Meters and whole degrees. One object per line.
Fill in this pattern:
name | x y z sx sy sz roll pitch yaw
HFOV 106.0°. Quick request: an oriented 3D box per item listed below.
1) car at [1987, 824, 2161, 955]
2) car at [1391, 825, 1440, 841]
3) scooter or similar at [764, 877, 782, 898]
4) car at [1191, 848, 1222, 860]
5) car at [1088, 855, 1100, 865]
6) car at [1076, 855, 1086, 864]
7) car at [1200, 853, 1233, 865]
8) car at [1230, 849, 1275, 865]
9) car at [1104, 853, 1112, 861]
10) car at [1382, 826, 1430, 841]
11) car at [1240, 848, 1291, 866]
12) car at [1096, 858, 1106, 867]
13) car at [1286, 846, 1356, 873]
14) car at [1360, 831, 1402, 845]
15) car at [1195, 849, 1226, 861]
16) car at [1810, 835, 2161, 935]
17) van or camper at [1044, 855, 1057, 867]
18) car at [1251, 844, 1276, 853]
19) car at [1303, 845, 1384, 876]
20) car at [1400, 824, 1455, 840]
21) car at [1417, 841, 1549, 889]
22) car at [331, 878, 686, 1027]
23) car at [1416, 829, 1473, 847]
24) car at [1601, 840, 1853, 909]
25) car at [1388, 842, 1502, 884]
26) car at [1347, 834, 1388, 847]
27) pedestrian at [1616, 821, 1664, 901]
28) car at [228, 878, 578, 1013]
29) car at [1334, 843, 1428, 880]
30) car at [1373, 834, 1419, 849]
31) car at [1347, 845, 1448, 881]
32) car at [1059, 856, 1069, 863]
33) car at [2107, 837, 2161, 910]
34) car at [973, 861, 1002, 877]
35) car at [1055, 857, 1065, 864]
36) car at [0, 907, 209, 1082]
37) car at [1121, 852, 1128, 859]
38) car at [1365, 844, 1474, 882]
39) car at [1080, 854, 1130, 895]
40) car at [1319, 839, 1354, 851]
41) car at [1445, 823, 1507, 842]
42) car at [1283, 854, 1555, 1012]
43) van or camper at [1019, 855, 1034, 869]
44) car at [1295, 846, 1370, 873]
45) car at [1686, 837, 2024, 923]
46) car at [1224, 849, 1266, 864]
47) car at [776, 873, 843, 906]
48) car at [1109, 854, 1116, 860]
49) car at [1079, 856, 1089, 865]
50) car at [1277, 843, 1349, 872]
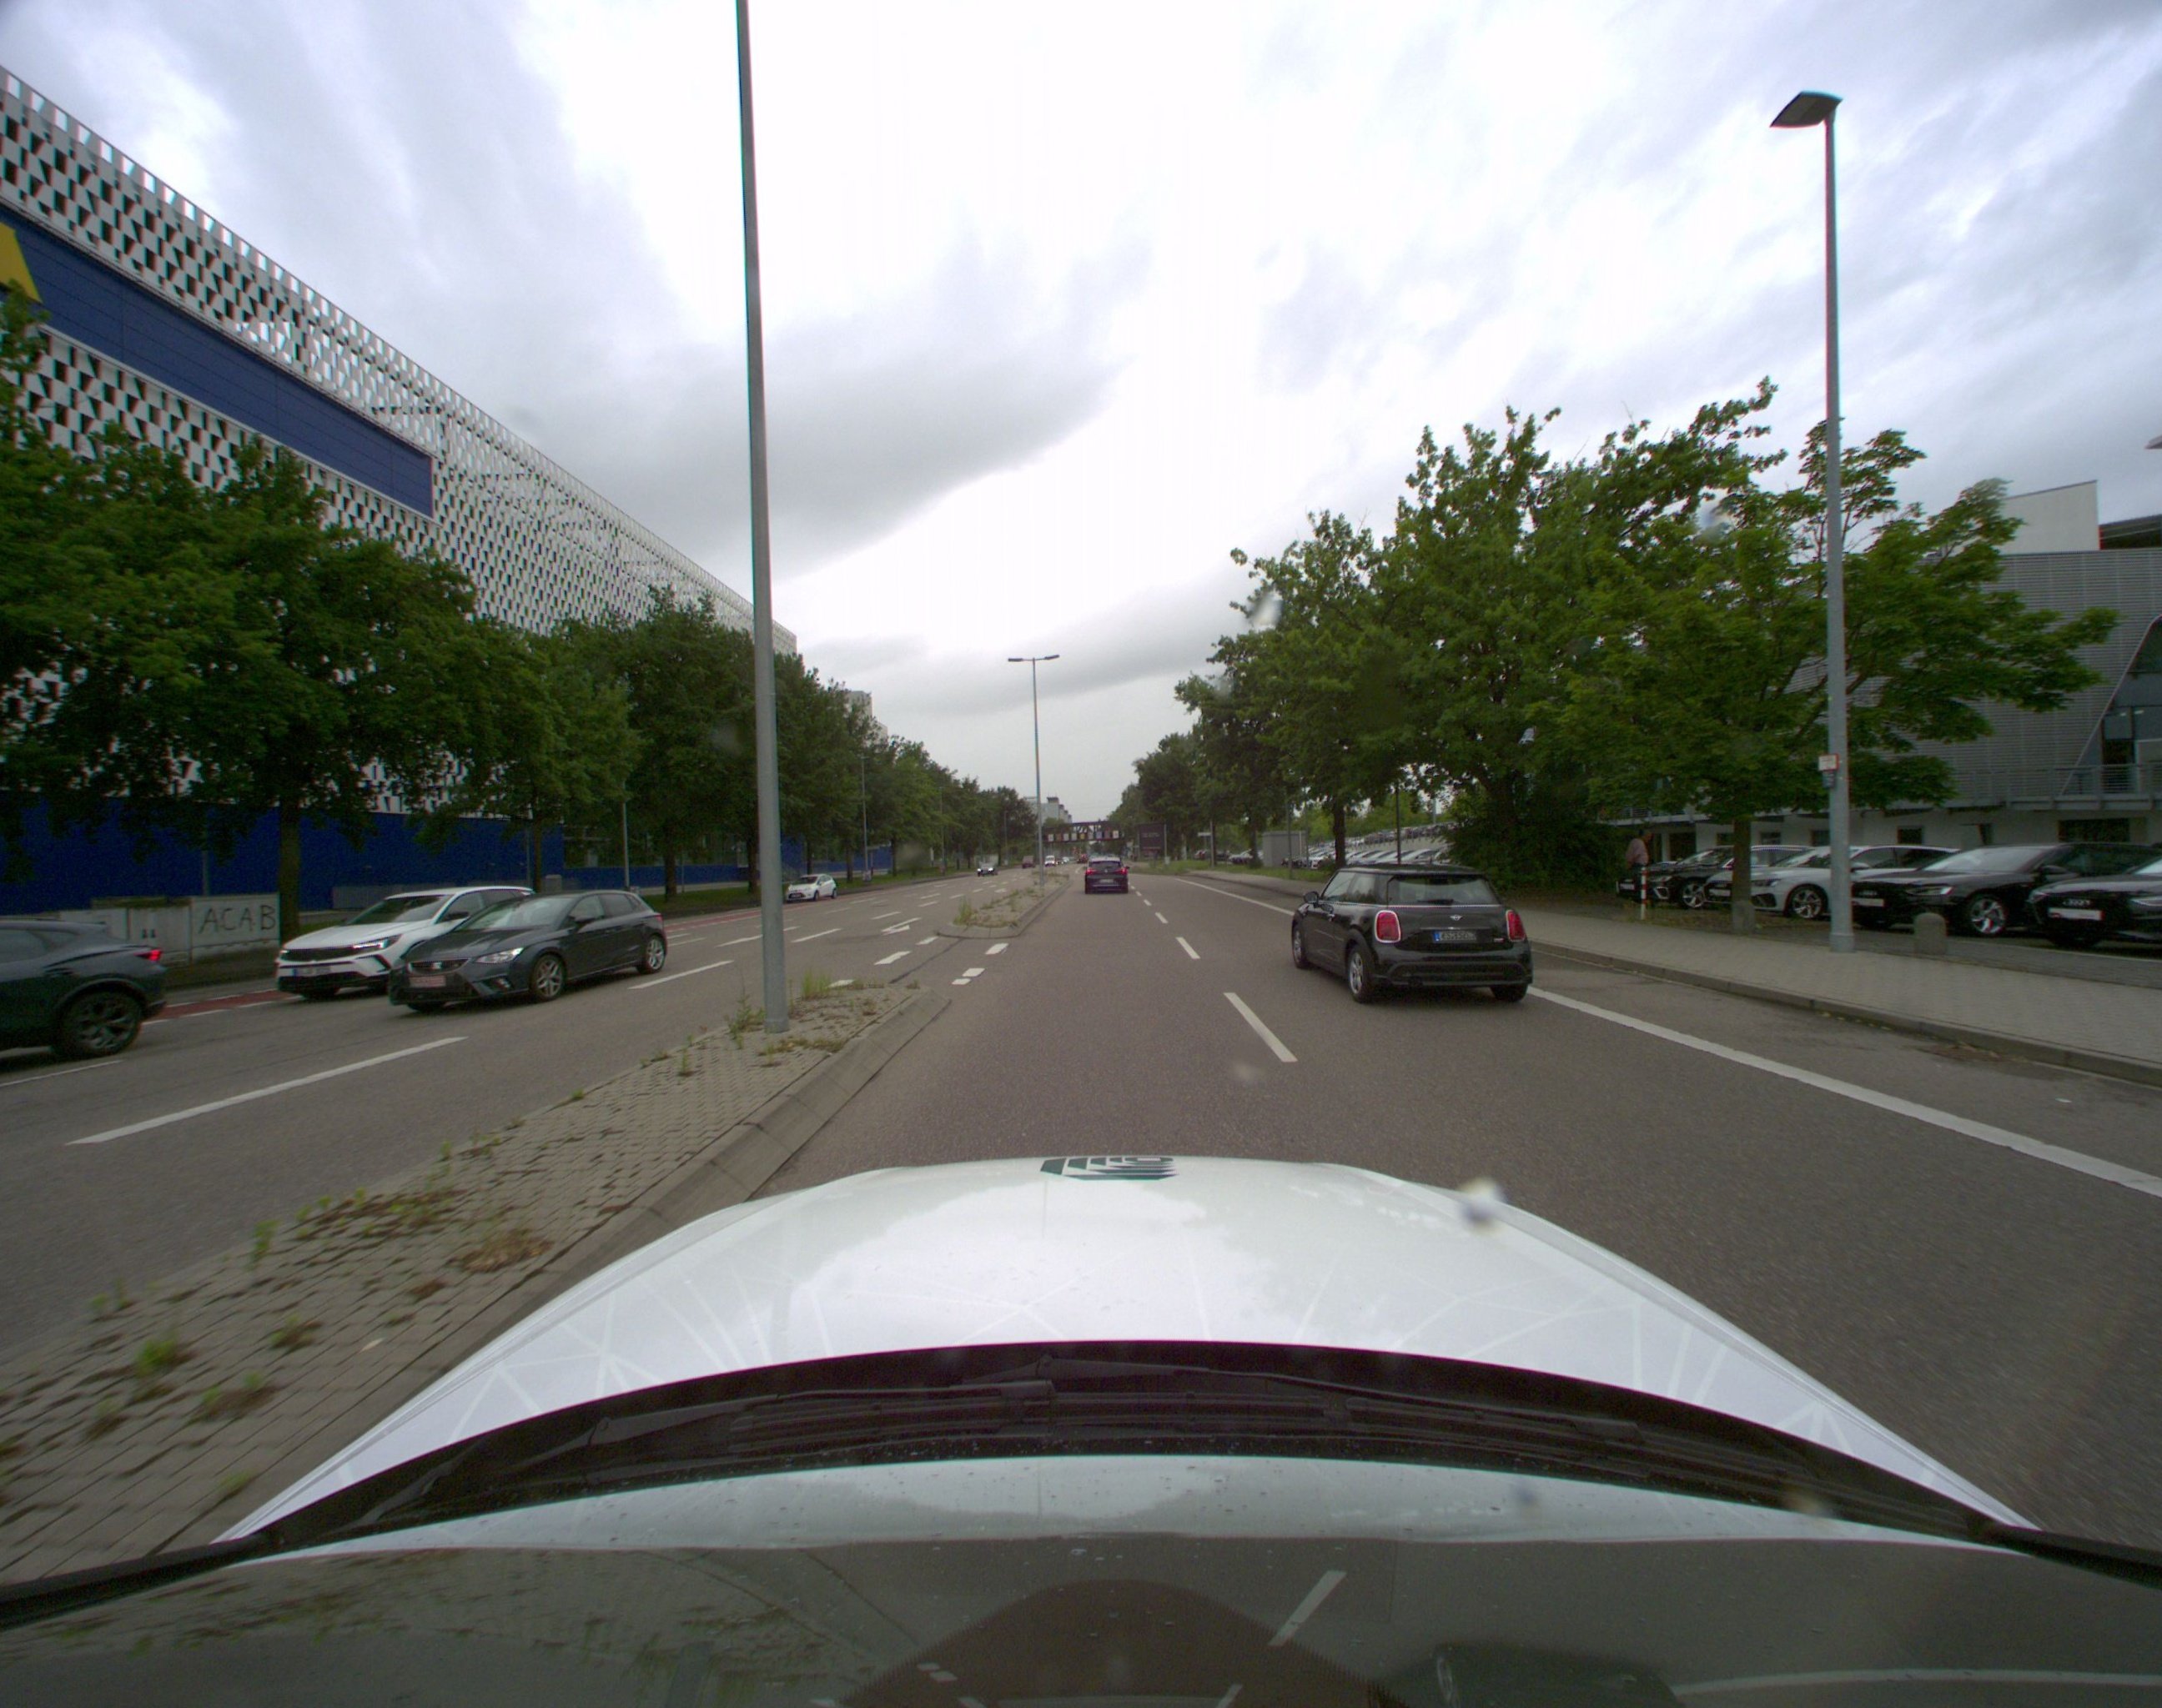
car | 14.289 0.433 9.939 4.350 1.470 1.895 1 0 1
car | 32.599 -2.030 79.358 4.072 1.496 1.730 -1 2 0
scooter or similar | -19.555 2.119 51.717 0.653 1.196 1.377 -1 0 -1
car | 16.871 -0.020 109.463 3.965 1.435 1.734 -1 2 8
car | 2.446 1.076 152.391 2.126 1.661 3.787 -1 2 4
car | -0.065 1.164 179.121 1.876 1.661 3.787 -1 2 4
car | 16.773 0.632 101.022 3.965 1.435 1.734 -1 2 8
car | 16.923 0.275 80.477 4.072 1.435 1.822 -1 2 0
car | 7.185 0.806 213.904 1.941 1.815 4.005 -1 2 4
car | 32.695 -2.066 81.997 4.072 1.435 1.730 -1 2 0
car | 17.088 0.277 75.486 4.328 1.503 1.930 1 0 1
car | 4.416 1.803 182.134 1.941 1.815 4.005 -1 2 4
car | 16.346 0.355 55.551 4.159 1.445 1.961 4 2 2
car | 33.000 -1.806 89.633 4.072 1.435 1.730 -1 2 0
car | 16.980 0.086 107.105 3.965 1.435 1.734 -1 2 8
car | 14.287 0.451 12.703 4.139 1.391 1.903 1 0 1
van or camper | -4.980 1.184 133.367 1.749 1.747 4.409 -5 0 2
car | 30.091 -0.939 134.373 3.965 1.435 1.734 -1 2 8
car | 16.251 0.383 50.563 4.376 1.520 2.002 4 2 2
car | 32.612 -2.078 76.721 4.321 1.496 1.882 -1 2 0
car | 15.773 0.404 32.102 4.193 1.485 1.826 4 2 0
car | -7.767 1.219 11.717 1.850 1.462 4.333 -4 0 1
car | 33.069 -1.471 74.136 4.321 1.496 1.970 -1 2 0
car | 14.310 0.426 18.231 4.189 1.421 1.856 0 0 1
car | 15.546 0.360 34.945 4.049 1.485 1.819 3 2 1
car | 33.306 -1.608 94.809 4.185 1.435 1.730 -1 2 0
pedestrian | 13.357 0.169 19.485 0.669 1.871 0.719 0 0 1
car | -11.258 1.404 14.110 1.986 1.594 4.579 -5 0 1
car | 15.639 0.362 42.579 4.159 1.662 2.002 3 2 2
car | 32.731 -1.318 84.658 4.072 1.435 1.947 -1 2 0
car | 15.538 0.420 40.111 4.166 1.485 1.978 3 2 2
car | -4.218 1.365 201.121 1.931 1.676 3.787 -1 2 4
car | 25.558 0.402 17.756 4.087 1.544 1.817 -1 2 1
car | -10.109 1.604 88.280 1.907 1.502 4.261 -4 -1 8
car | -4.685 1.394 182.866 1.746 1.446 3.343 -1 2 4
car | -11.089 1.408 7.141 1.874 1.544 4.597 -4 -1 0
car | 12.299 0.474 231.308 1.941 1.815 4.005 -1 2 4
car | 15.533 0.386 37.552 4.181 1.485 1.960 3 2 1
car | 1.025 0.792 32.952 1.749 1.434 4.005 -2 1 5
car | 33.577 -1.154 107.023 4.072 1.435 1.730 -1 2 0
car | 33.270 -1.840 68.638 4.321 1.496 1.882 -1 2 0
car | 3.644 0.750 9.520 1.779 1.415 3.645 -1 1 2
van or camper | -8.624 1.267 130.117 1.868 1.986 4.891 -3 0 1
car | 16.342 0.340 53.138 4.277 1.504 2.030 3 0 2
car | 14.435 0.449 15.396 4.633 1.472 1.848 1 1 1
car | 17.129 0.206 85.200 4.072 1.435 1.730 -1 2 0
car | -15.020 1.916 45.280 1.848 1.462 4.339 -4 0 5
car | 9.796 0.870 249.841 1.941 1.815 4.005 -1 2 4
car | 0.742 1.389 185.775 1.941 1.815 4.005 -1 2 4
car | 16.509 0.206 58.151 4.532 1.702 2.002 4 2 2
